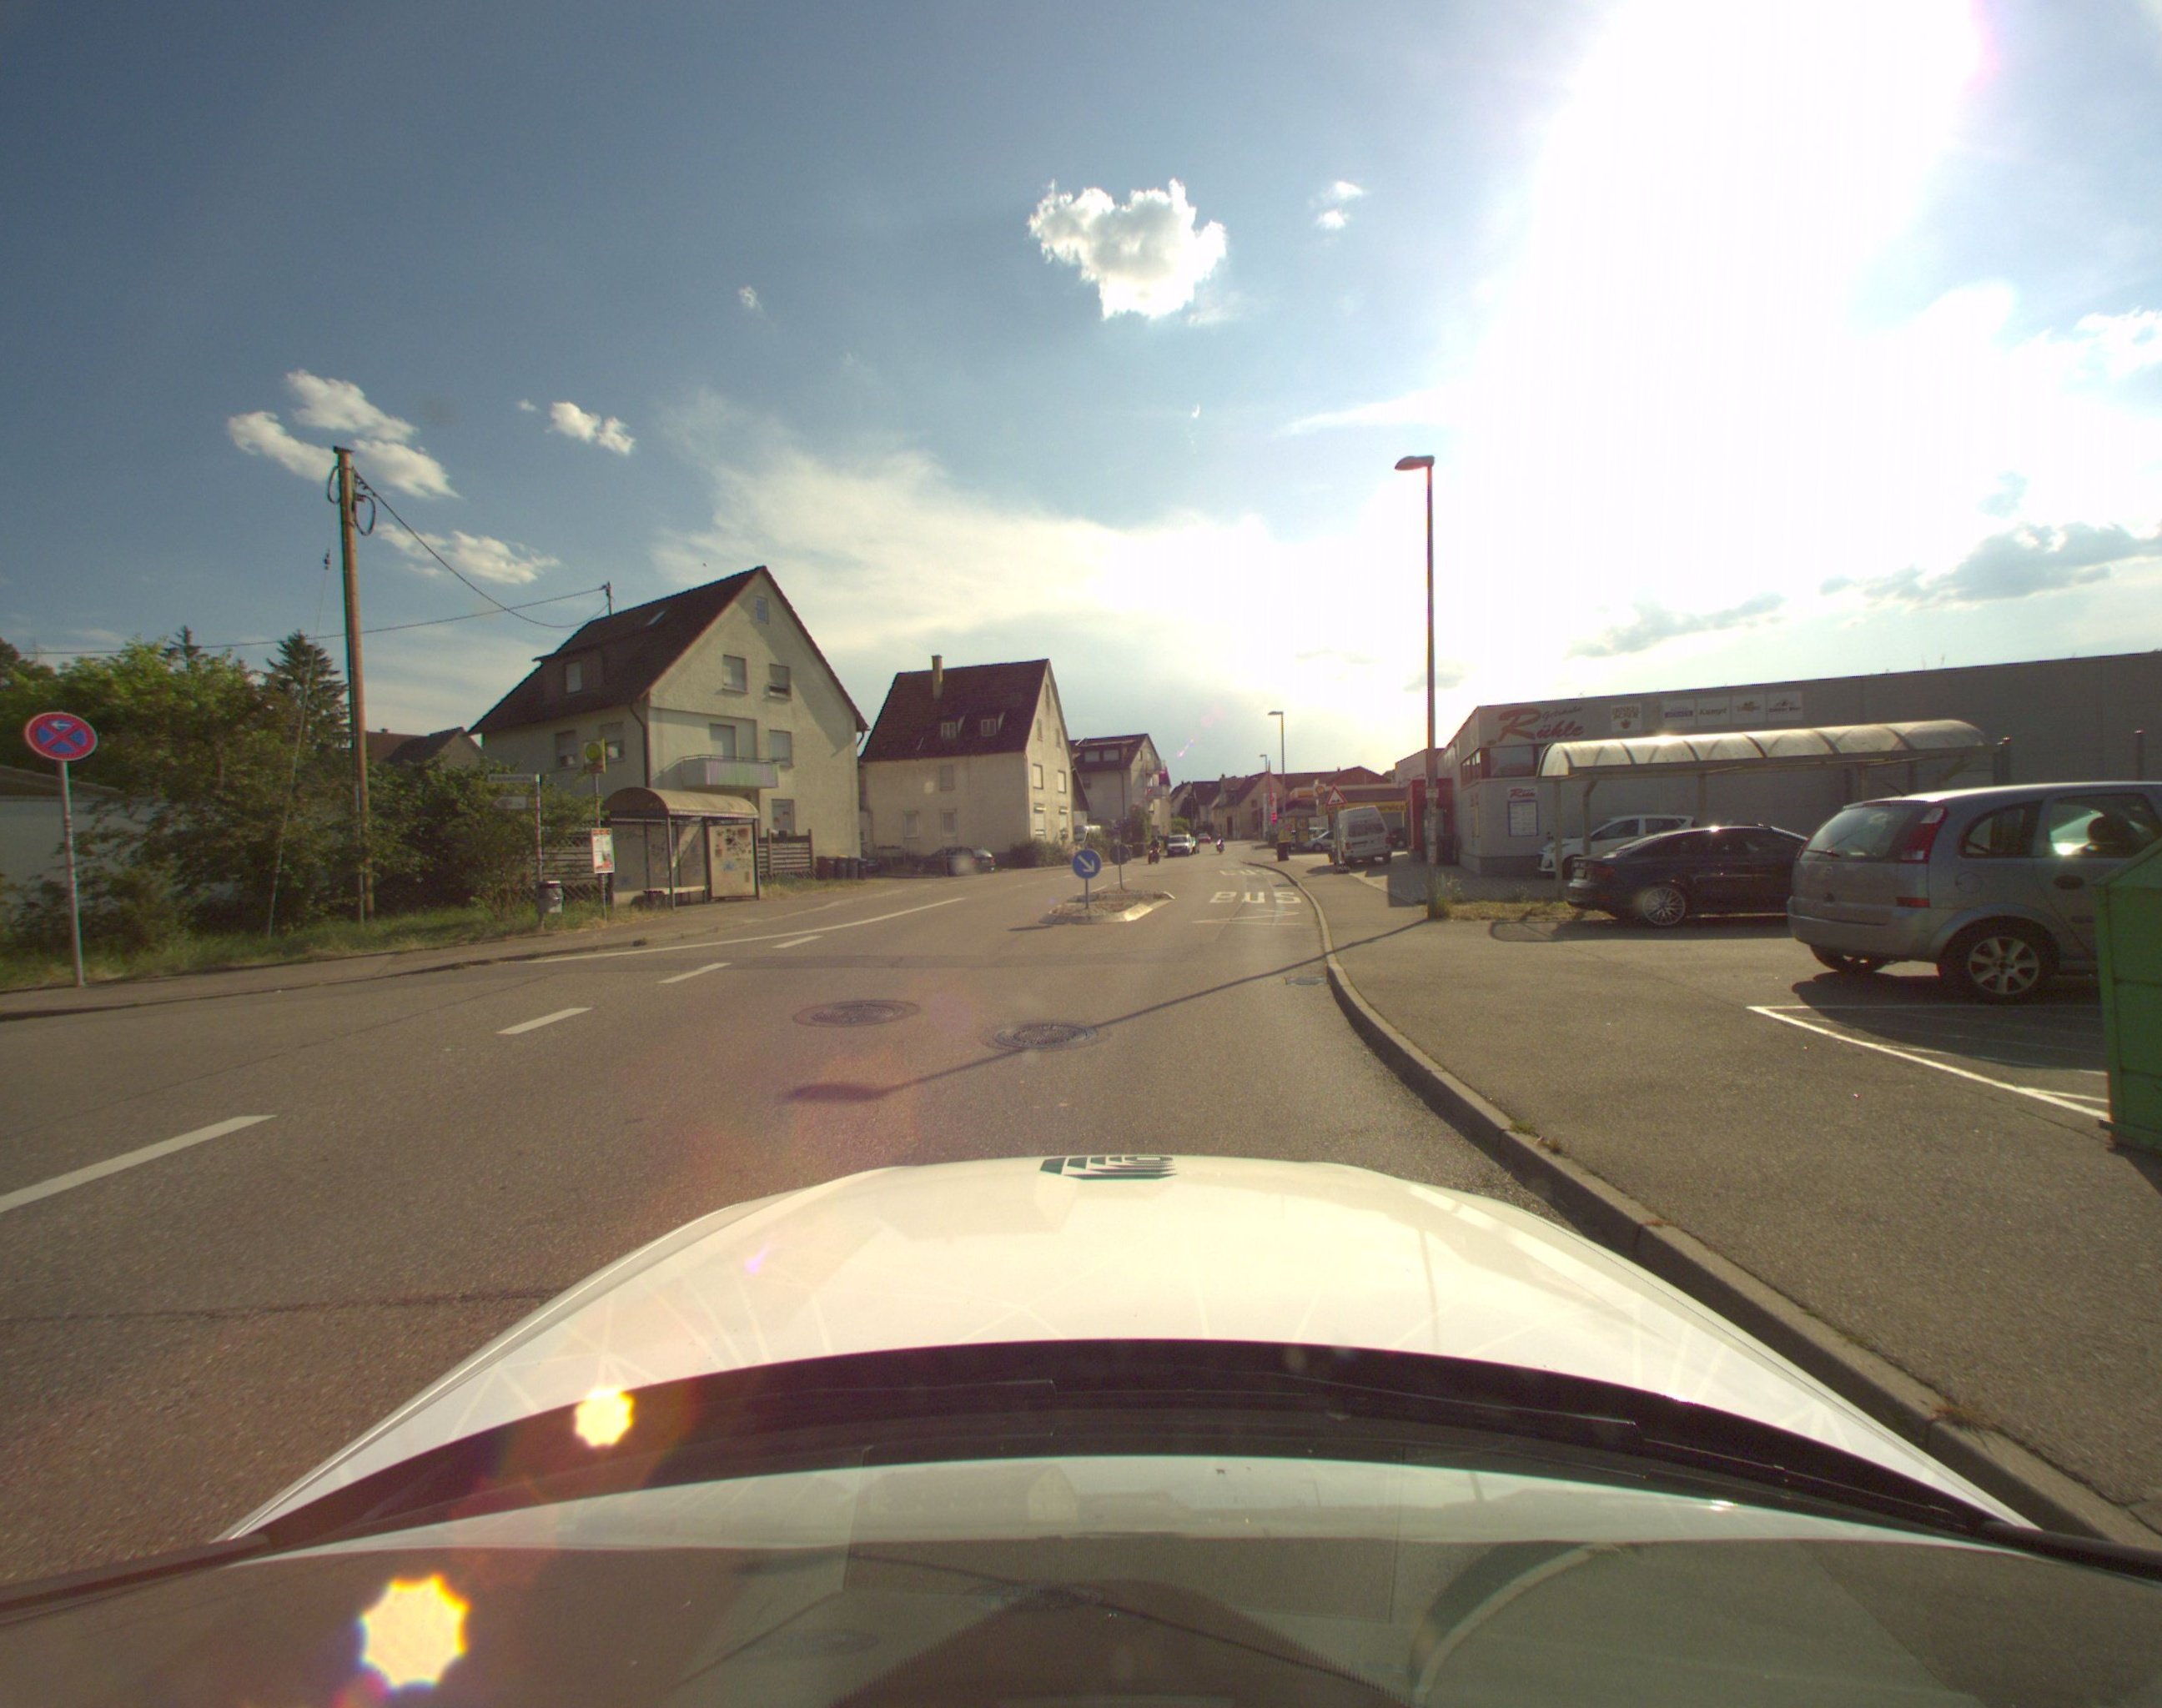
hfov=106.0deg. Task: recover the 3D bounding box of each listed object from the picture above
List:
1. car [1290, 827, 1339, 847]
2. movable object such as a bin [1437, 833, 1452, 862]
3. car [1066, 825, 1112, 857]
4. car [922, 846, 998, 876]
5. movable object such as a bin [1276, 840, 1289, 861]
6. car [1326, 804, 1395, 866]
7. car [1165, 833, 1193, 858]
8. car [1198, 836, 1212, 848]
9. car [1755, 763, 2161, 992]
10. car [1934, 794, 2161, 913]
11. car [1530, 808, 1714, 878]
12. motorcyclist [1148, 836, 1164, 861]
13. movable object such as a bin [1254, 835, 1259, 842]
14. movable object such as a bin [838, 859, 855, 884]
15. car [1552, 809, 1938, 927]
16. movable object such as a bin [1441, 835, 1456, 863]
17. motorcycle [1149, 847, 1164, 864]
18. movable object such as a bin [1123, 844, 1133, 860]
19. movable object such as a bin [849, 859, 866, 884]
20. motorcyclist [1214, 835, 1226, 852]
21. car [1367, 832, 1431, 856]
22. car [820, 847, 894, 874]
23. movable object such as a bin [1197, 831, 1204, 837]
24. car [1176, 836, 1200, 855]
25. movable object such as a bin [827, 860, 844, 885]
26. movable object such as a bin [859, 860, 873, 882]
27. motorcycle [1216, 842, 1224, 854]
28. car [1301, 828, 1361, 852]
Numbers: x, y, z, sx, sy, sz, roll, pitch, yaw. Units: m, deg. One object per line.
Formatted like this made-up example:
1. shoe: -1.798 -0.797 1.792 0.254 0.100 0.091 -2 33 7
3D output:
1. car: 20.285 -1.457 70.806 3.960 1.608 2.007 -2 1 12
2. movable object such as a bin: 13.101 -0.233 29.380 0.425 1.042 0.492 -2 1 20
3. car: 0.747 -1.188 69.706 2.141 2.595 6.123 -1 2 17
4. car: -6.311 0.322 42.229 3.949 1.433 1.664 0 2 40
5. movable object such as a bin: 10.860 -0.211 43.922 0.564 1.075 0.574 -3 1 8
6. car: 12.074 -0.811 35.479 1.825 2.374 5.192 -4 1 9
7. car: 8.039 -0.698 66.281 1.704 1.872 4.208 -3 1 13
8. car: 17.538 -1.719 115.650 1.700 1.434 3.787 -4 1 6
9. car: 8.139 0.138 6.474 3.912 1.603 1.688 -2 0 13
10. car: 13.973 -0.065 10.749 3.410 1.416 1.505 -4 0 17
11. car: 13.315 -0.268 20.258 3.525 1.457 1.507 -4 1 21
12. motorcyclist: 4.595 -0.359 49.891 0.730 1.527 1.021 1 1 17
13. movable object such as a bin: 24.665 -2.178 114.300 0.649 1.073 0.514 -2 1 9
14. movable object such as a bin: -9.716 0.725 33.760 0.357 1.041 0.561 -2 -1 29
15. car: 9.446 0.218 11.979 4.032 1.416 1.633 -4 0 17
16. movable object such as a bin: 12.921 -0.174 28.656 0.425 0.966 0.432 -2 1 20
17. motorcycle: 4.652 0.056 50.001 0.534 1.012 2.037 0 1 18
18. movable object such as a bin: 3.236 -0.152 56.127 0.606 1.101 0.578 -1 0 13
19. movable object such as a bin: -9.420 0.750 34.279 0.357 1.023 0.580 -2 -1 29
20. motorcyclist: 11.326 -0.860 66.398 0.796 1.436 1.041 -1 1 15
21. car: 22.274 -0.685 57.156 3.881 1.467 1.721 -2 3 8
22. car: -12.143 0.325 44.064 3.948 1.360 1.697 0 2 35
23. movable object such as a bin: 24.186 -4.136 164.584 1.157 1.168 0.655 -2 1 0
24. car: 9.494 -0.760 71.960 1.661 1.451 3.849 -3 1 13
25. movable object such as a bin: -10.014 0.755 33.267 0.357 1.016 0.561 -2 -1 29
26. movable object such as a bin: -9.187 0.732 34.769 0.357 0.925 0.402 -2 -1 29
27. motorcycle: 11.350 -0.492 66.441 0.520 1.012 2.036 0 1 15
28. car: 17.858 -1.010 58.293 3.962 1.531 1.532 -2 1 10
